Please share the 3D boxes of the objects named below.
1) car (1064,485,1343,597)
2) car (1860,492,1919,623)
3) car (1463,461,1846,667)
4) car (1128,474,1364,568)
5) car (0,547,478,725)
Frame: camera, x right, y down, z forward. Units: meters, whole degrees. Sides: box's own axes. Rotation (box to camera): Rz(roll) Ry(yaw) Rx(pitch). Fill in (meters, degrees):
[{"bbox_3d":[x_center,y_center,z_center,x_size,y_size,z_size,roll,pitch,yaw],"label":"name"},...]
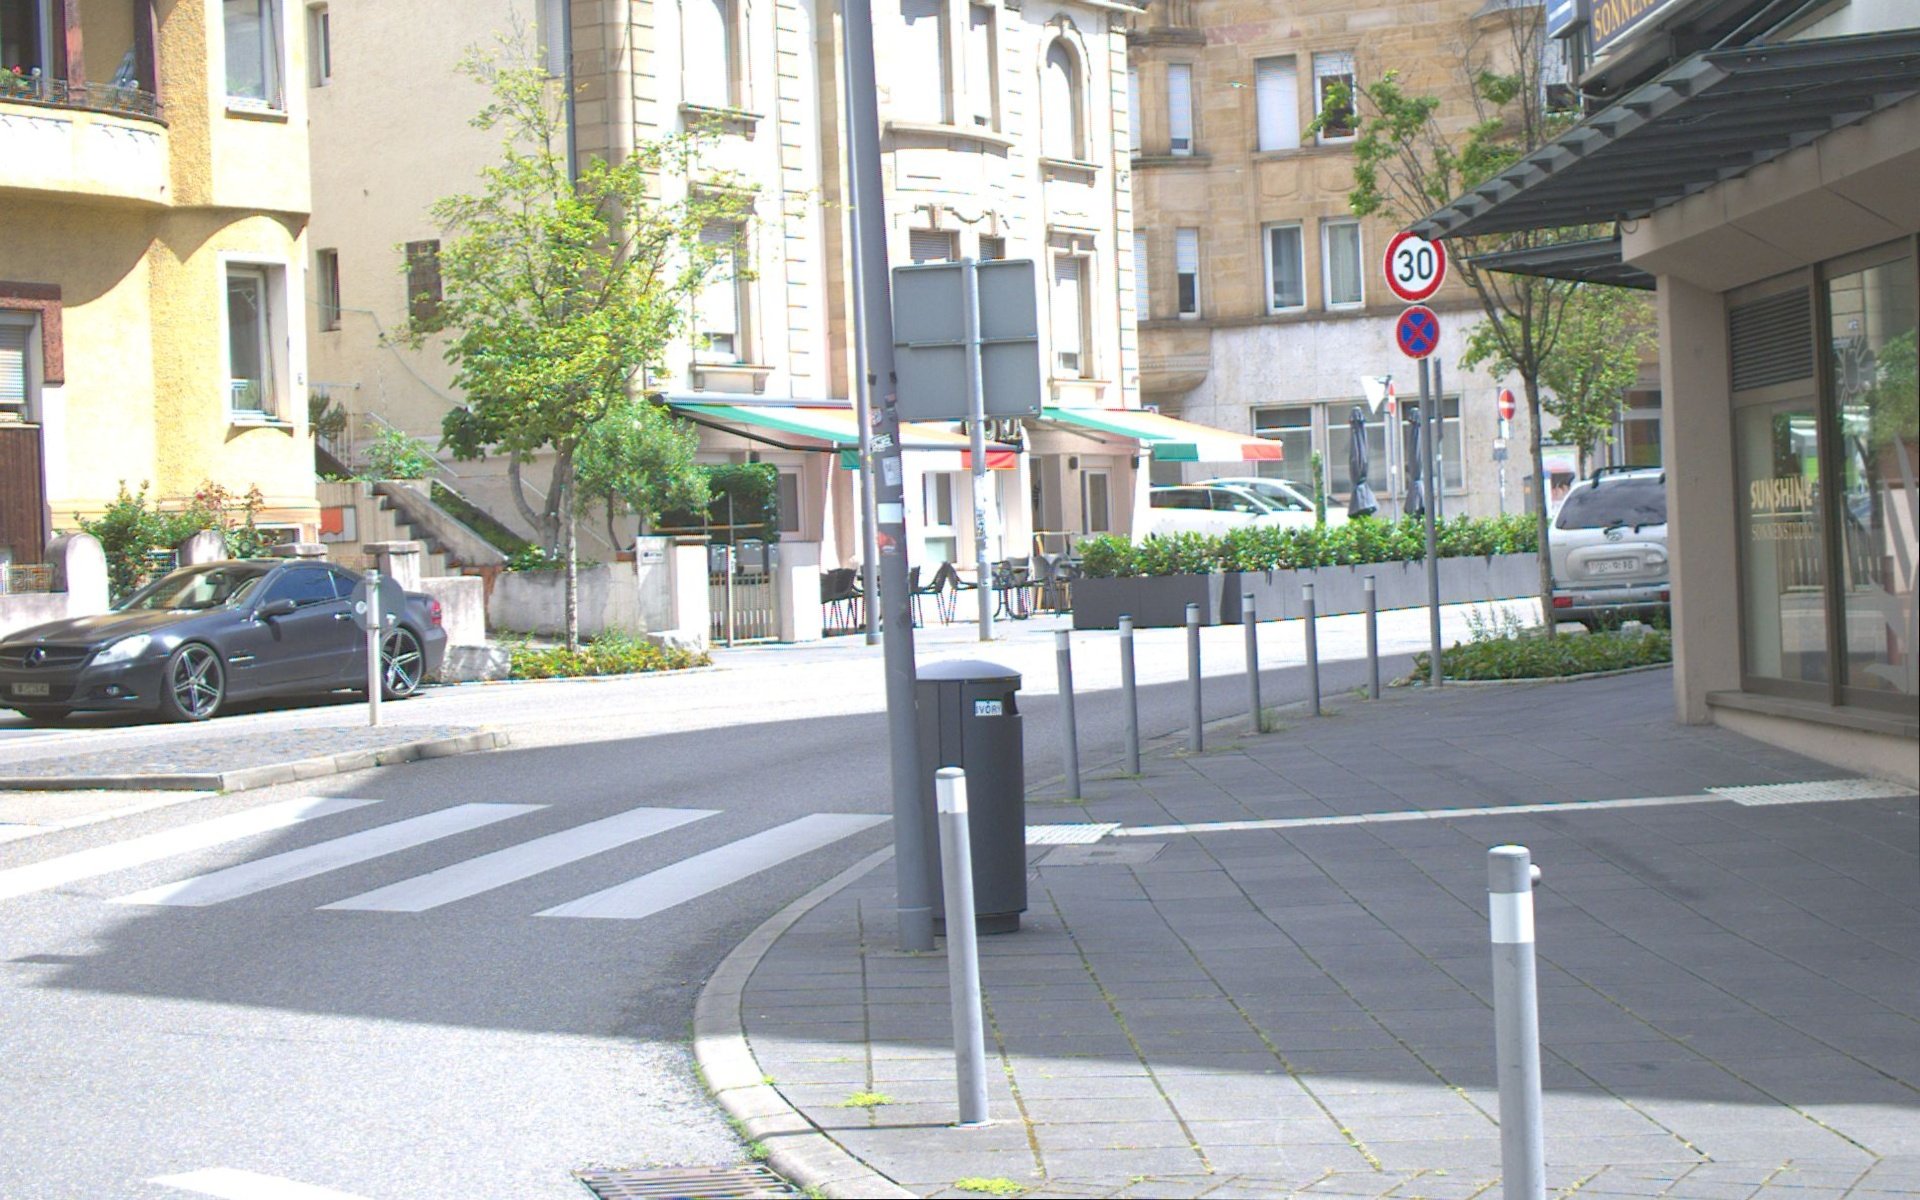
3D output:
[{"bbox_3d":[4.223,-1.023,59.428,4.422,1.769,1.998,-1,1,18],"label":"car"},{"bbox_3d":[12.666,-0.595,41.846,1.828,1.514,4.224,-3,1,36],"label":"car"},{"bbox_3d":[6.561,-0.372,32.165,1.828,1.725,4.224,-3,1,36],"label":"car"},{"bbox_3d":[5.416,-1.495,65.127,3.993,1.656,1.906,-1,2,28],"label":"car"},{"bbox_3d":[-6.247,0.265,29.197,1.713,1.241,4.403,-1,2,34],"label":"car"}]
